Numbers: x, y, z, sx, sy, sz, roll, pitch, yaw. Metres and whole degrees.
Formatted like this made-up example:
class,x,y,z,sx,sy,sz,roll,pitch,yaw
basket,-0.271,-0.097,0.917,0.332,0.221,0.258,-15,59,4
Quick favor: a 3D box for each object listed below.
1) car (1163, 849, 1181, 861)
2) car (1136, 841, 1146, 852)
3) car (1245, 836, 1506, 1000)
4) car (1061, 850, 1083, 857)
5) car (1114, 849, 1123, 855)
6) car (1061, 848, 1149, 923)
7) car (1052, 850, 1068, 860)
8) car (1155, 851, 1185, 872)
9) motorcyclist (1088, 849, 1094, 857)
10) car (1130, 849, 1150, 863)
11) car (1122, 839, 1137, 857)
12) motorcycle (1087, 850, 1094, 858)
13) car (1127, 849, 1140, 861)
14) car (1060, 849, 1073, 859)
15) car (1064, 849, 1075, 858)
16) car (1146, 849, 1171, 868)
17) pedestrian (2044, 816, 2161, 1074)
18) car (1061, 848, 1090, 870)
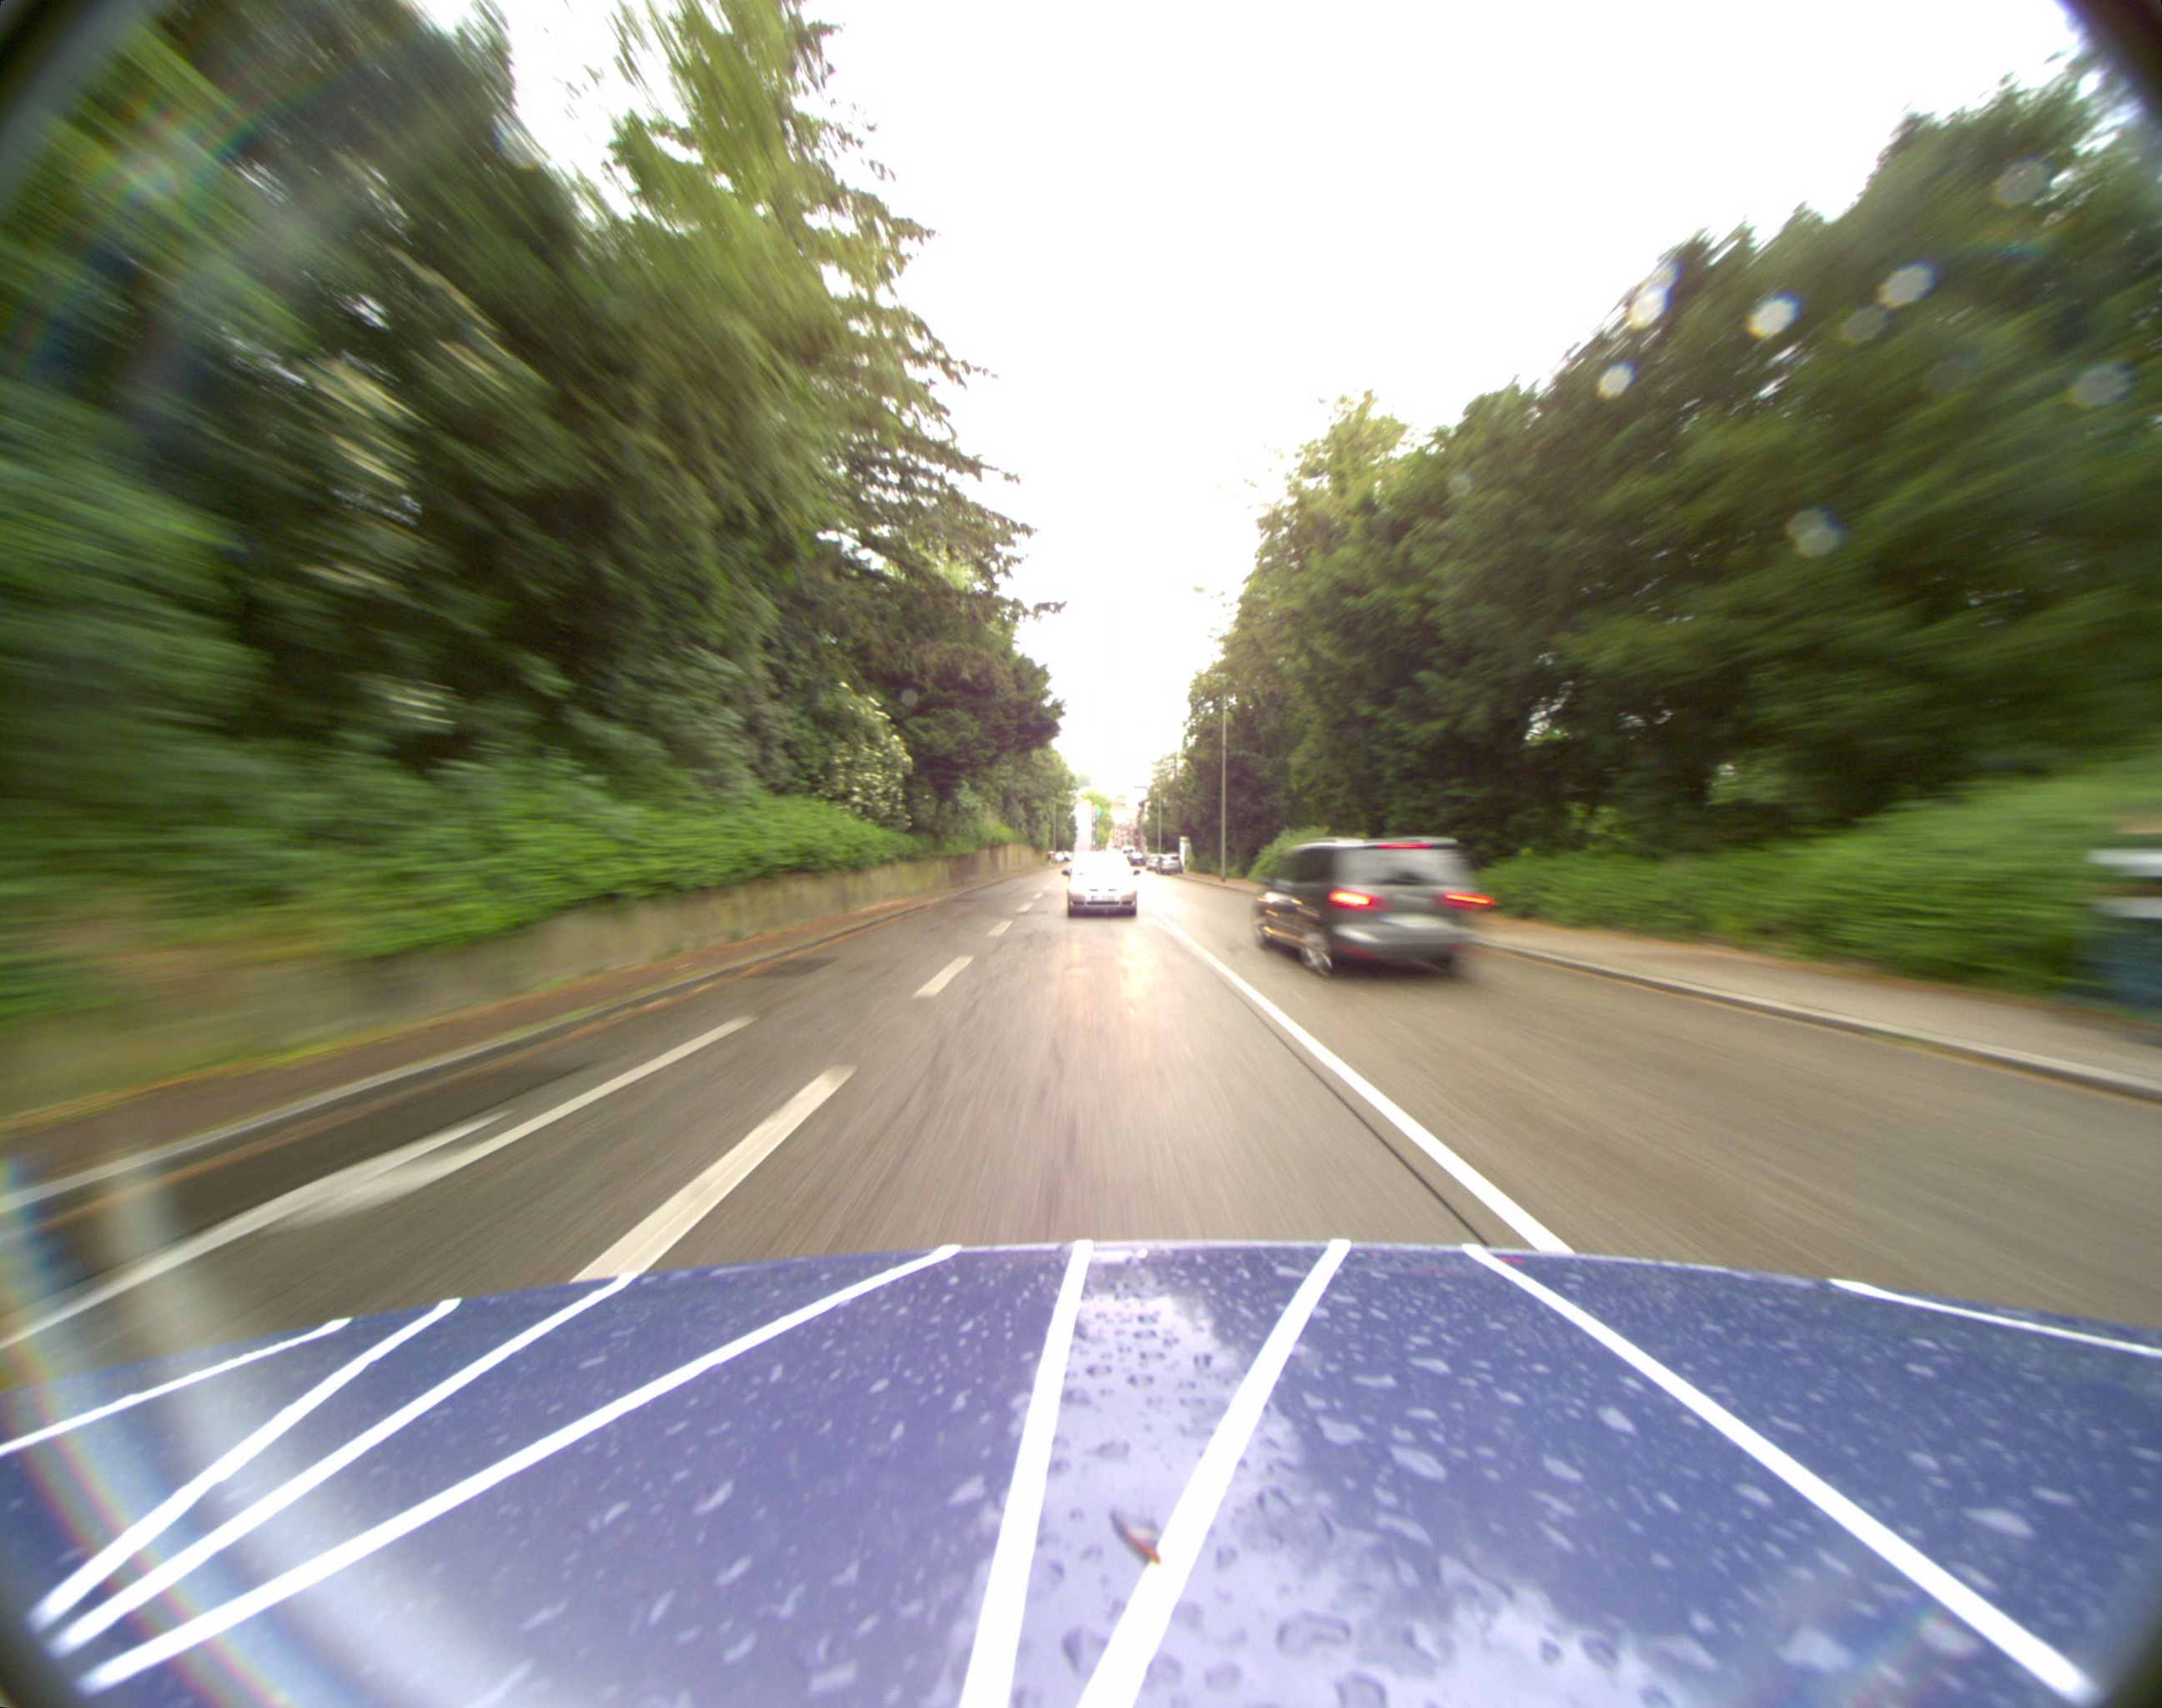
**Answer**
class,x,y,z,sx,sy,sz,roll,pitch,yaw
car,10.712,0.113,89.541,1.727,1.450,4.396,0,0,1
car,14.078,-1.838,179.023,2.122,2.536,5.445,2,1,3
car,3.559,0.666,10.043,1.835,1.701,3.999,-1,1,-1
car,-1.809,-0.084,152.860,4.192,1.408,1.804,2,1,3
car,8.504,-0.476,171.790,1.765,1.482,4.001,-1,0,4
car,0.710,0.669,18.622,1.825,1.603,4.190,-1,1,6
car,-3.024,0.132,111.241,1.742,1.469,4.741,2,0,4
car,6.735,0.539,57.679,1.630,1.490,3.927,-2,0,-2
motorcyclist,1.384,-0.152,108.833,0.778,1.120,0.549,-2,1,5
car,6.982,0.233,90.107,1.864,1.485,4.755,3,0,0
car,7.249,-0.916,114.269,2.122,2.536,5.445,2,1,3
motorcycle,1.401,0.042,109.002,0.778,1.120,2.300,-2,1,6
car,7.132,0.118,102.513,1.648,1.595,4.186,2,1,4
car,-2.358,-0.003,122.419,1.769,1.614,4.679,1,1,2
car,-1.931,-0.038,129.170,1.567,1.458,3.899,2,1,4
car,7.030,0.384,69.310,1.891,1.602,4.239,2,0,1
pedestrian,7.217,0.569,5.050,0.707,1.634,0.714,-1,1,7
car,-0.356,0.346,56.739,1.998,1.603,3.967,0,1,2
